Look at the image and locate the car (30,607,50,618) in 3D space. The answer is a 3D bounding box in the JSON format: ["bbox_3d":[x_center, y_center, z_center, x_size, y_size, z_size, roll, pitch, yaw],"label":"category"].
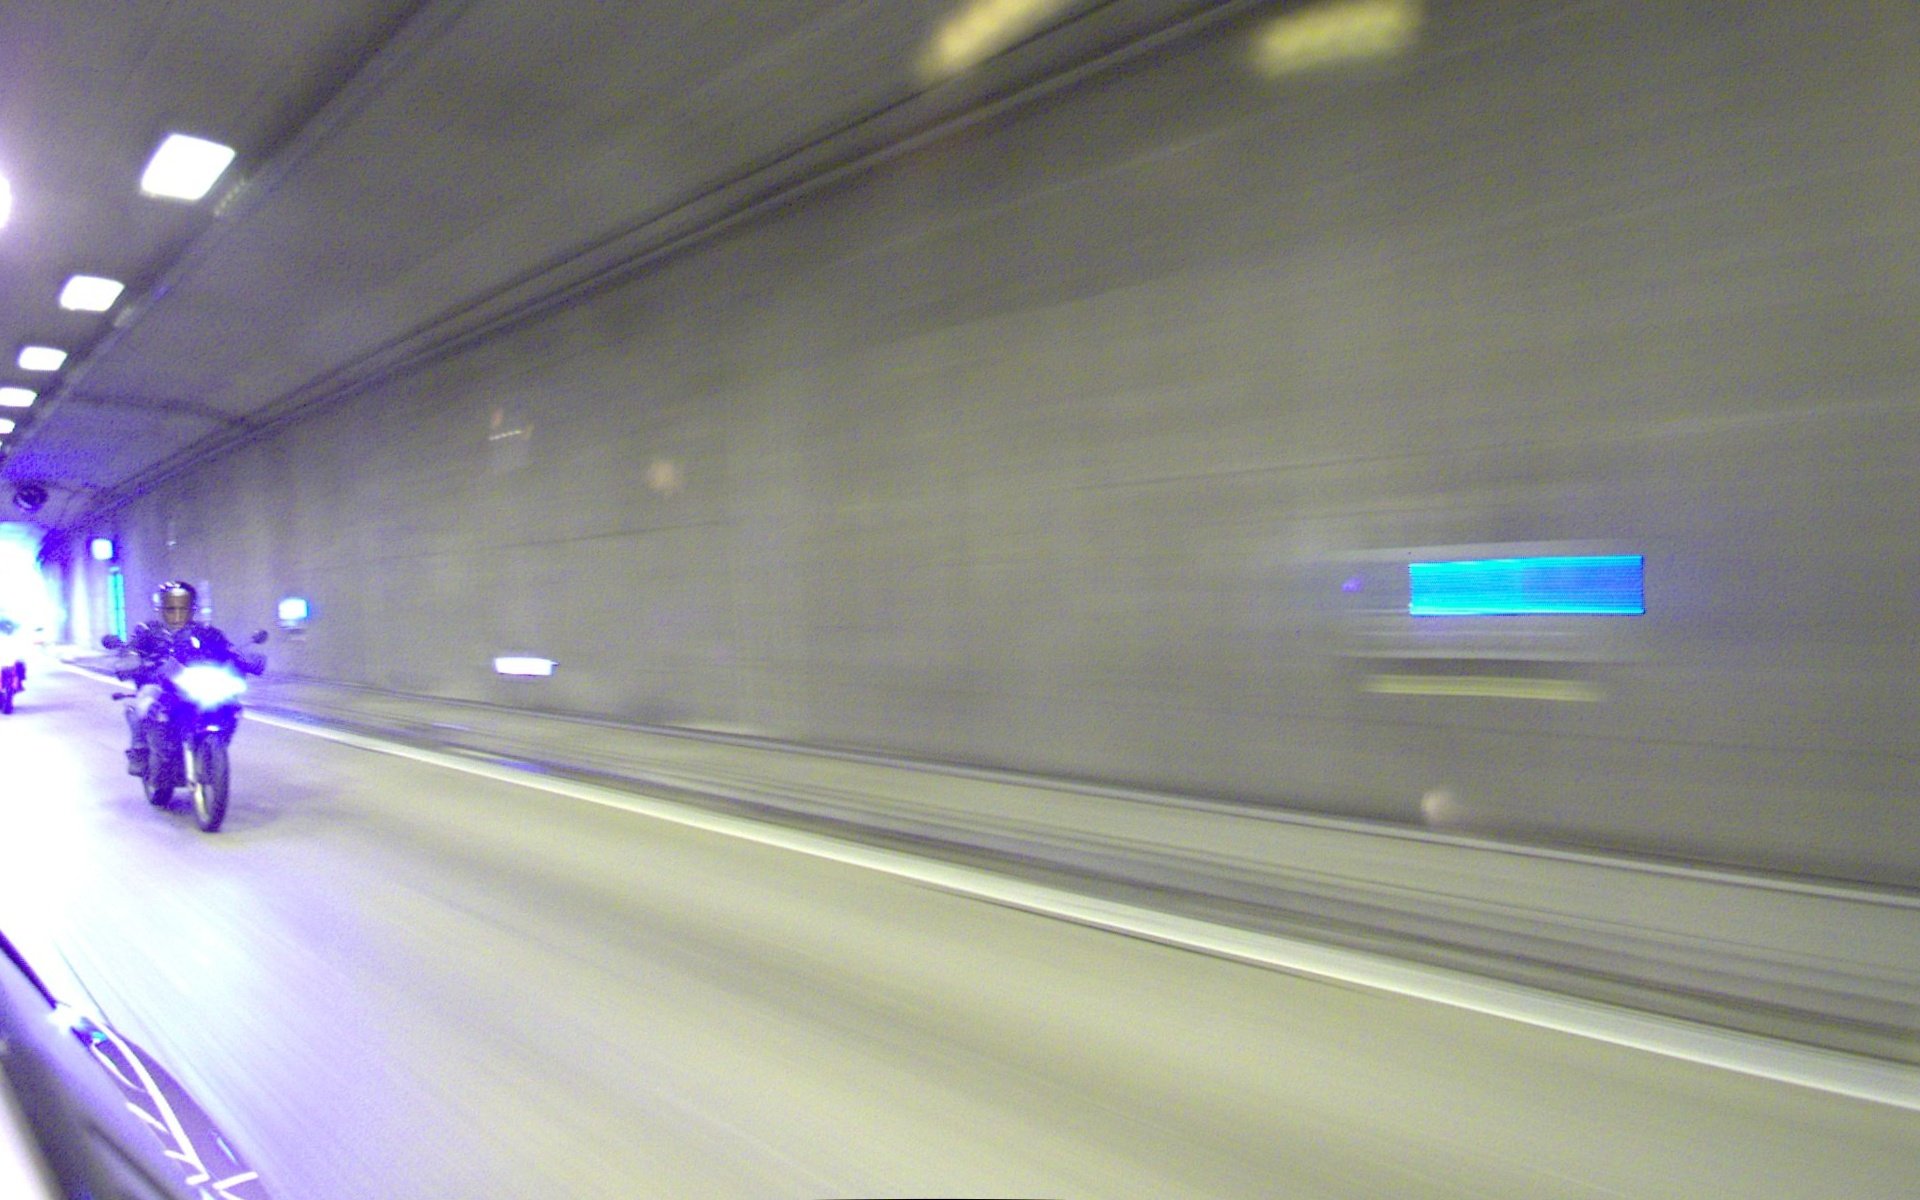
[{"bbox_3d":[-146.319,1.971,160.951,1.968,1.812,4.009,-1,1,-37],"label":"car"}]

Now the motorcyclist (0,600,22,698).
[{"bbox_3d":[-15.139,0.764,15.785,0.889,1.500,0.621,-1,-1,39],"label":"motorcyclist"}]

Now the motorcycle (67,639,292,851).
[{"bbox_3d":[-5.786,0.939,7.423,2.603,1.255,0.837,-1,-1,42],"label":"motorcycle"}]

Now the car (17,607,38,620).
[{"bbox_3d":[-135.710,1.897,147.234,1.968,1.812,4.007,-1,1,-39],"label":"car"}]

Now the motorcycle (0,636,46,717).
[{"bbox_3d":[-15.079,1.159,15.661,2.425,1.166,1.043,-1,-1,39],"label":"motorcycle"}]

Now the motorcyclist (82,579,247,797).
[{"bbox_3d":[-5.898,0.609,7.507,0.821,1.488,0.830,-2,-1,42],"label":"motorcyclist"}]
